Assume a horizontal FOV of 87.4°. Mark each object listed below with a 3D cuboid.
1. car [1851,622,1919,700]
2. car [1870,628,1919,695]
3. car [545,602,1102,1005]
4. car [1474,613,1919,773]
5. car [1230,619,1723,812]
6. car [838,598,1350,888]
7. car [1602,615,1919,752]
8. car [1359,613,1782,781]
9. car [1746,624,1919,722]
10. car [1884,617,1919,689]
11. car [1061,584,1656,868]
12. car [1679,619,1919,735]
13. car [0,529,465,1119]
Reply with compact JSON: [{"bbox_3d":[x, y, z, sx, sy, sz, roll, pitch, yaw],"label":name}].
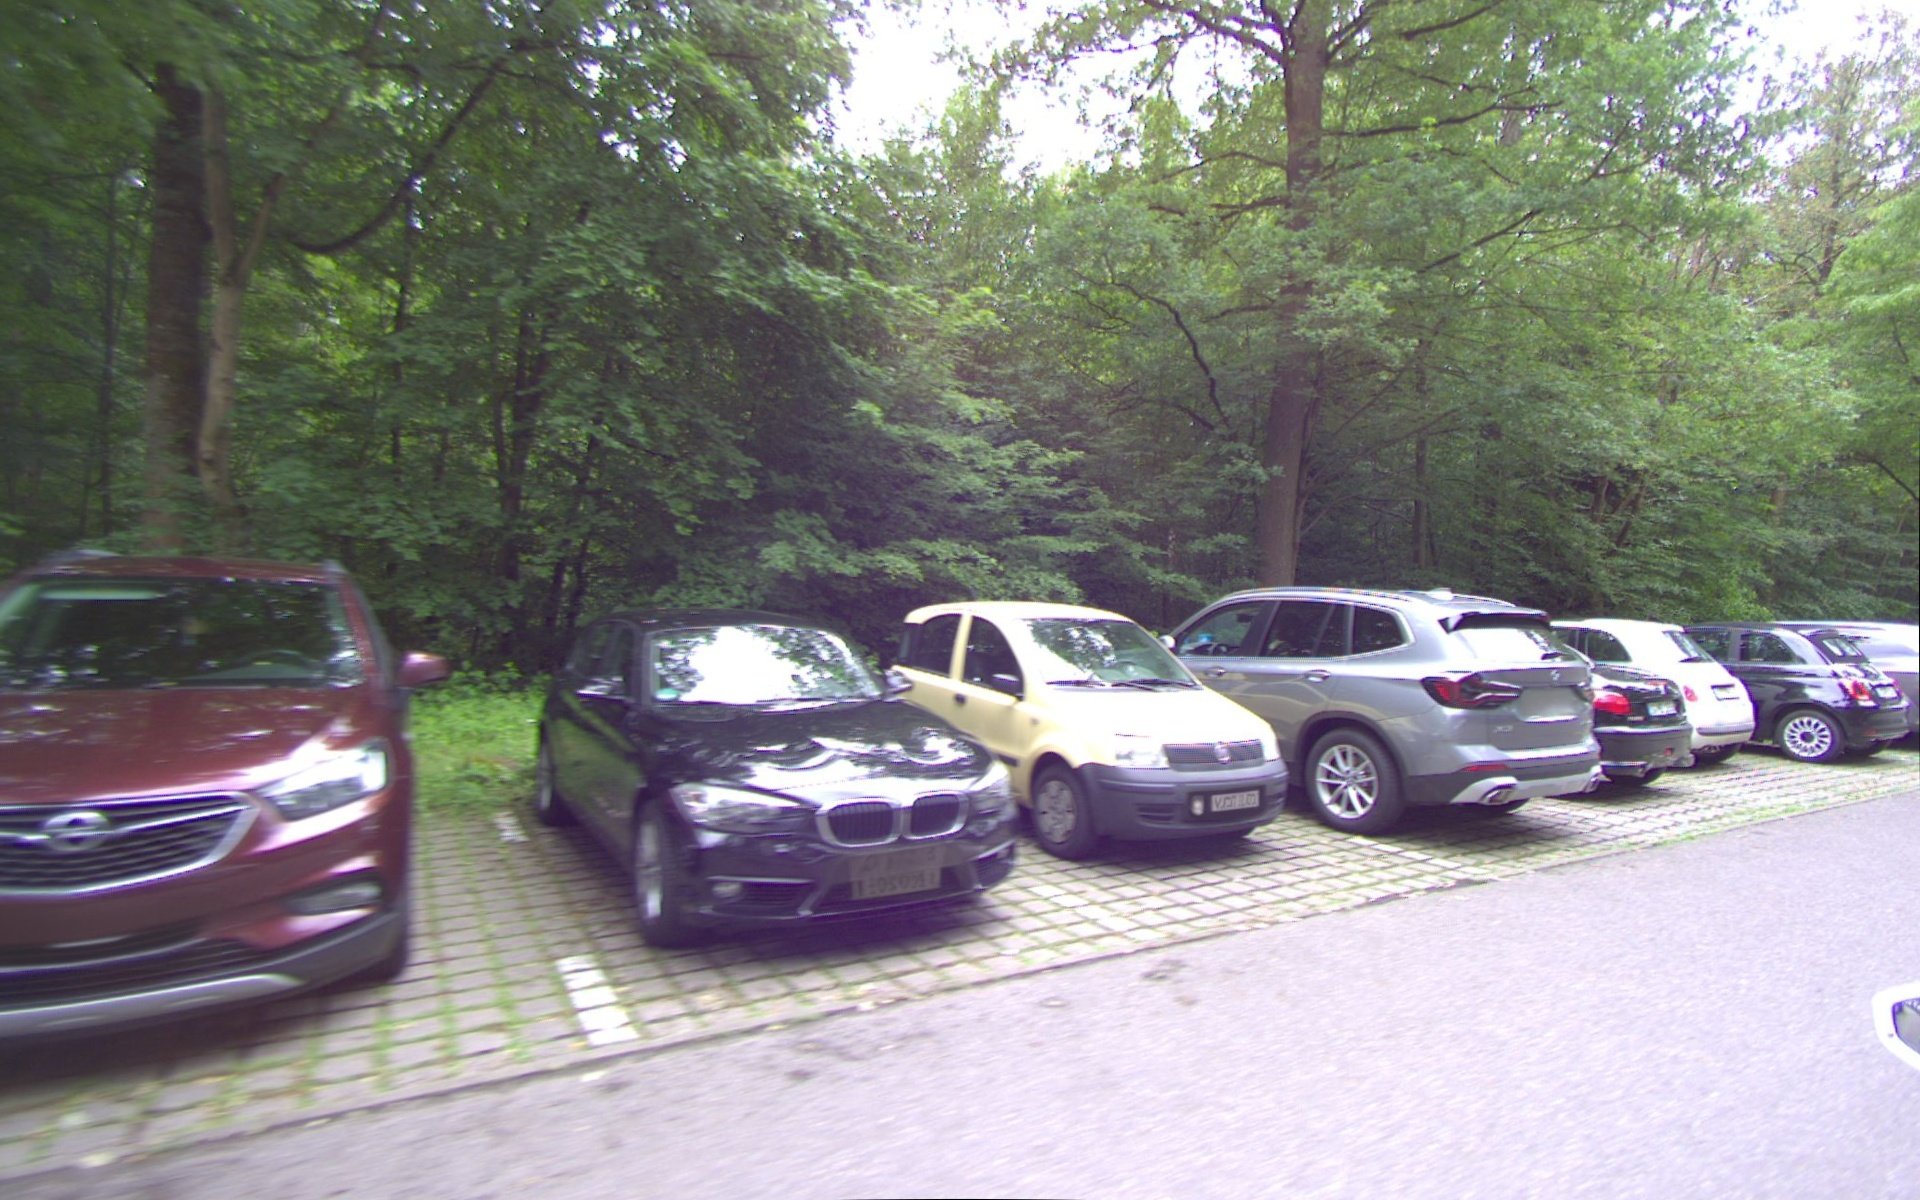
[{"bbox_3d":[19.732,1.212,18.833,1.740,1.468,4.264,1,0,-36],"label":"car"},{"bbox_3d":[21.652,1.328,20.147,1.966,1.361,4.704,1,0,-32],"label":"car"},{"bbox_3d":[-1.136,0.762,5.820,1.766,1.382,3.966,1,1,-31],"label":"car"},{"bbox_3d":[9.116,1.000,12.701,1.815,1.508,4.380,1,1,-29],"label":"car"},{"bbox_3d":[4.796,0.931,9.890,1.791,1.327,3.955,0,1,-33],"label":"car"},{"bbox_3d":[0.662,0.772,7.505,1.776,1.484,4.006,1,0,-28],"label":"car"},{"bbox_3d":[11.415,1.034,13.710,1.910,1.544,4.063,1,0,-34],"label":"car"},{"bbox_3d":[6.789,0.942,11.579,1.642,1.470,3.842,0,1,-33],"label":"car"},{"bbox_3d":[15.557,1.174,16.229,1.941,1.450,4.090,1,0,-30],"label":"car"},{"bbox_3d":[23.663,1.253,21.994,1.938,1.616,4.704,1,0,-32],"label":"car"},{"bbox_3d":[2.887,0.736,8.267,2.005,1.655,4.204,1,1,-30],"label":"car"},{"bbox_3d":[13.458,1.101,14.924,1.975,1.500,4.086,1,0,-32],"label":"car"},{"bbox_3d":[-3.582,0.590,4.758,1.904,1.605,4.493,1,0,-30],"label":"car"}]
